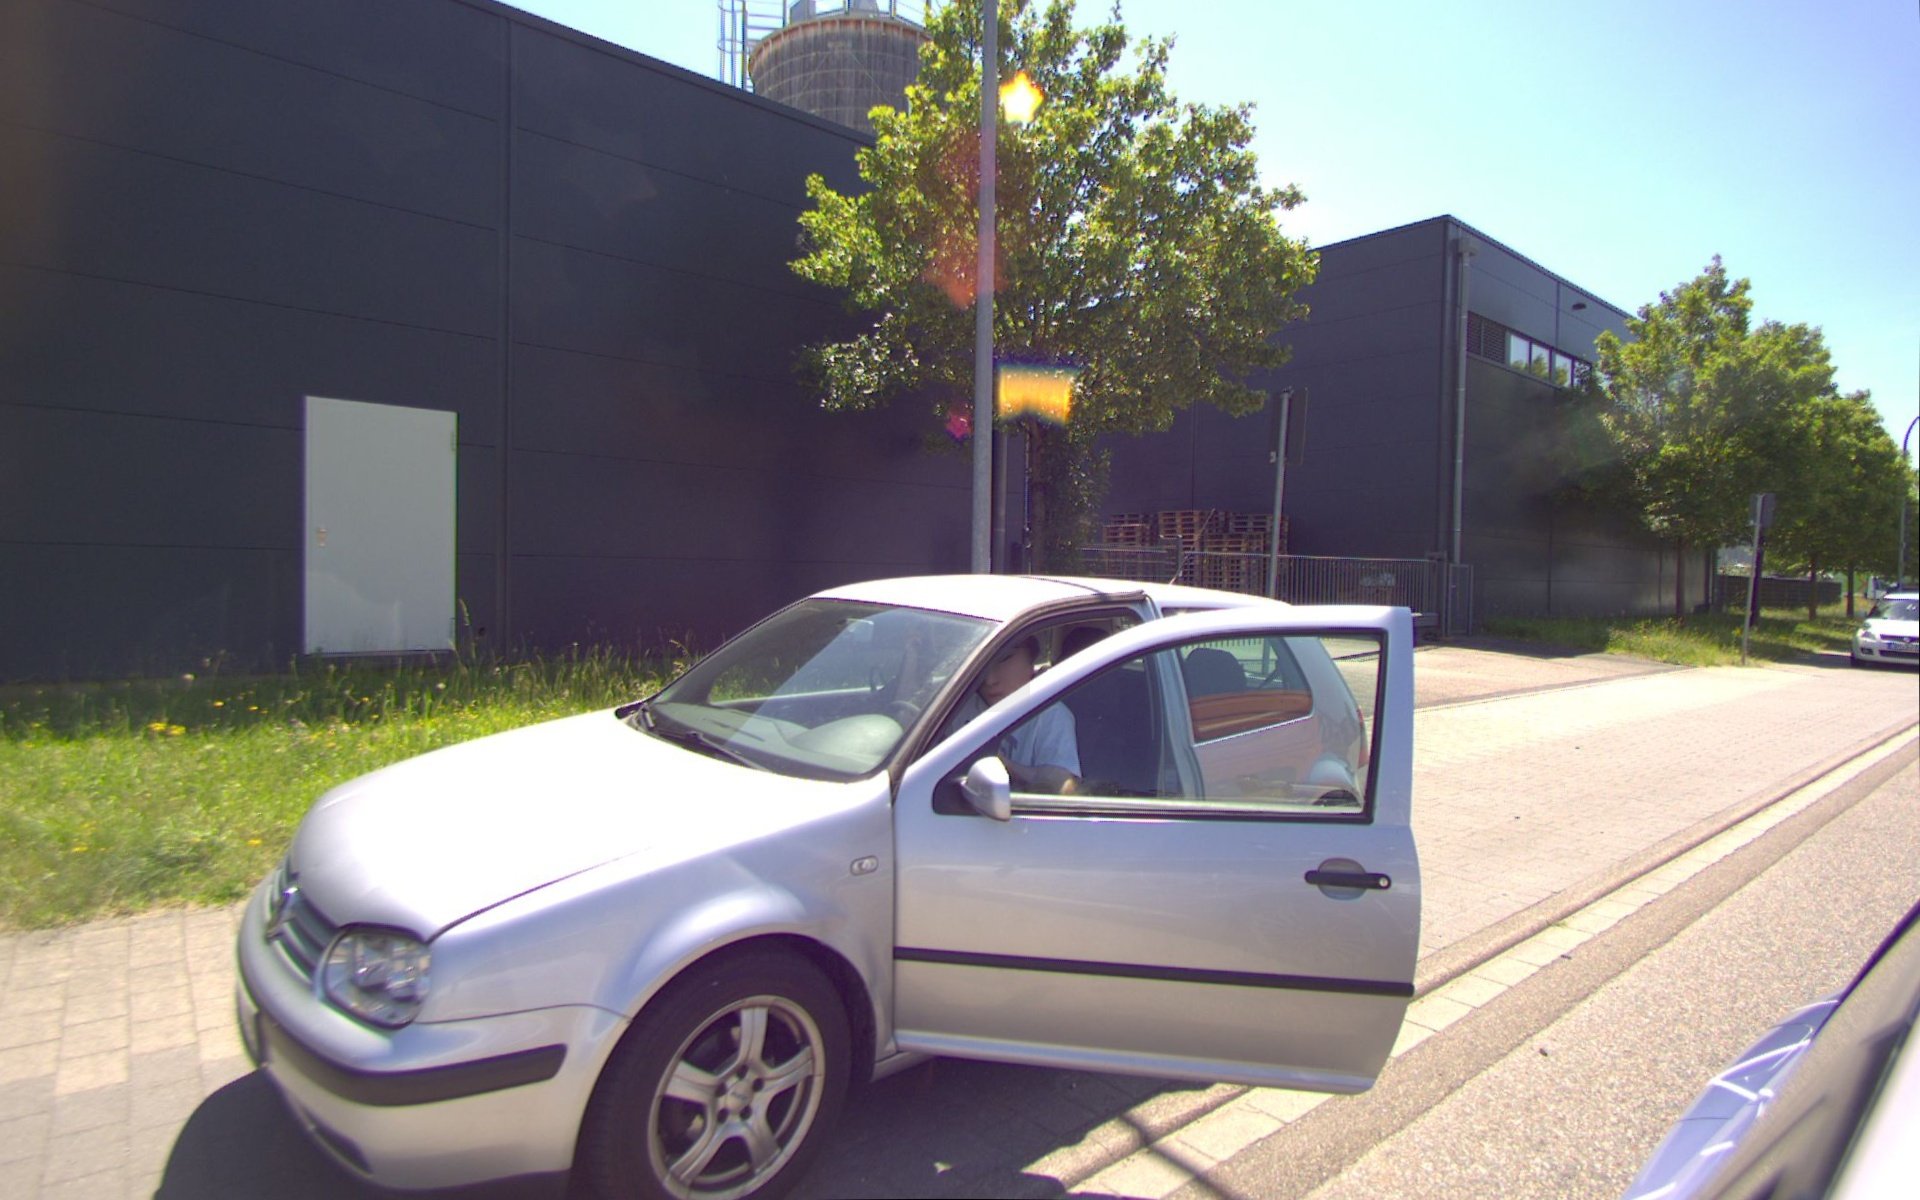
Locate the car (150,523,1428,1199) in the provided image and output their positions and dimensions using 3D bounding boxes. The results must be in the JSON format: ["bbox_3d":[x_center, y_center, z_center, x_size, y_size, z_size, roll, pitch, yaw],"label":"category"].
[{"bbox_3d":[-0.175,0.562,3.543,4.116,1.475,1.711,0,3,-41],"label":"car"}]

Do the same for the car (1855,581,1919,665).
[{"bbox_3d":[19.202,0.431,20.007,3.602,1.528,1.736,0,3,-41],"label":"car"}]

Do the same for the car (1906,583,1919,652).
[{"bbox_3d":[23.029,0.407,23.068,3.778,1.528,1.735,0,3,-41],"label":"car"}]
